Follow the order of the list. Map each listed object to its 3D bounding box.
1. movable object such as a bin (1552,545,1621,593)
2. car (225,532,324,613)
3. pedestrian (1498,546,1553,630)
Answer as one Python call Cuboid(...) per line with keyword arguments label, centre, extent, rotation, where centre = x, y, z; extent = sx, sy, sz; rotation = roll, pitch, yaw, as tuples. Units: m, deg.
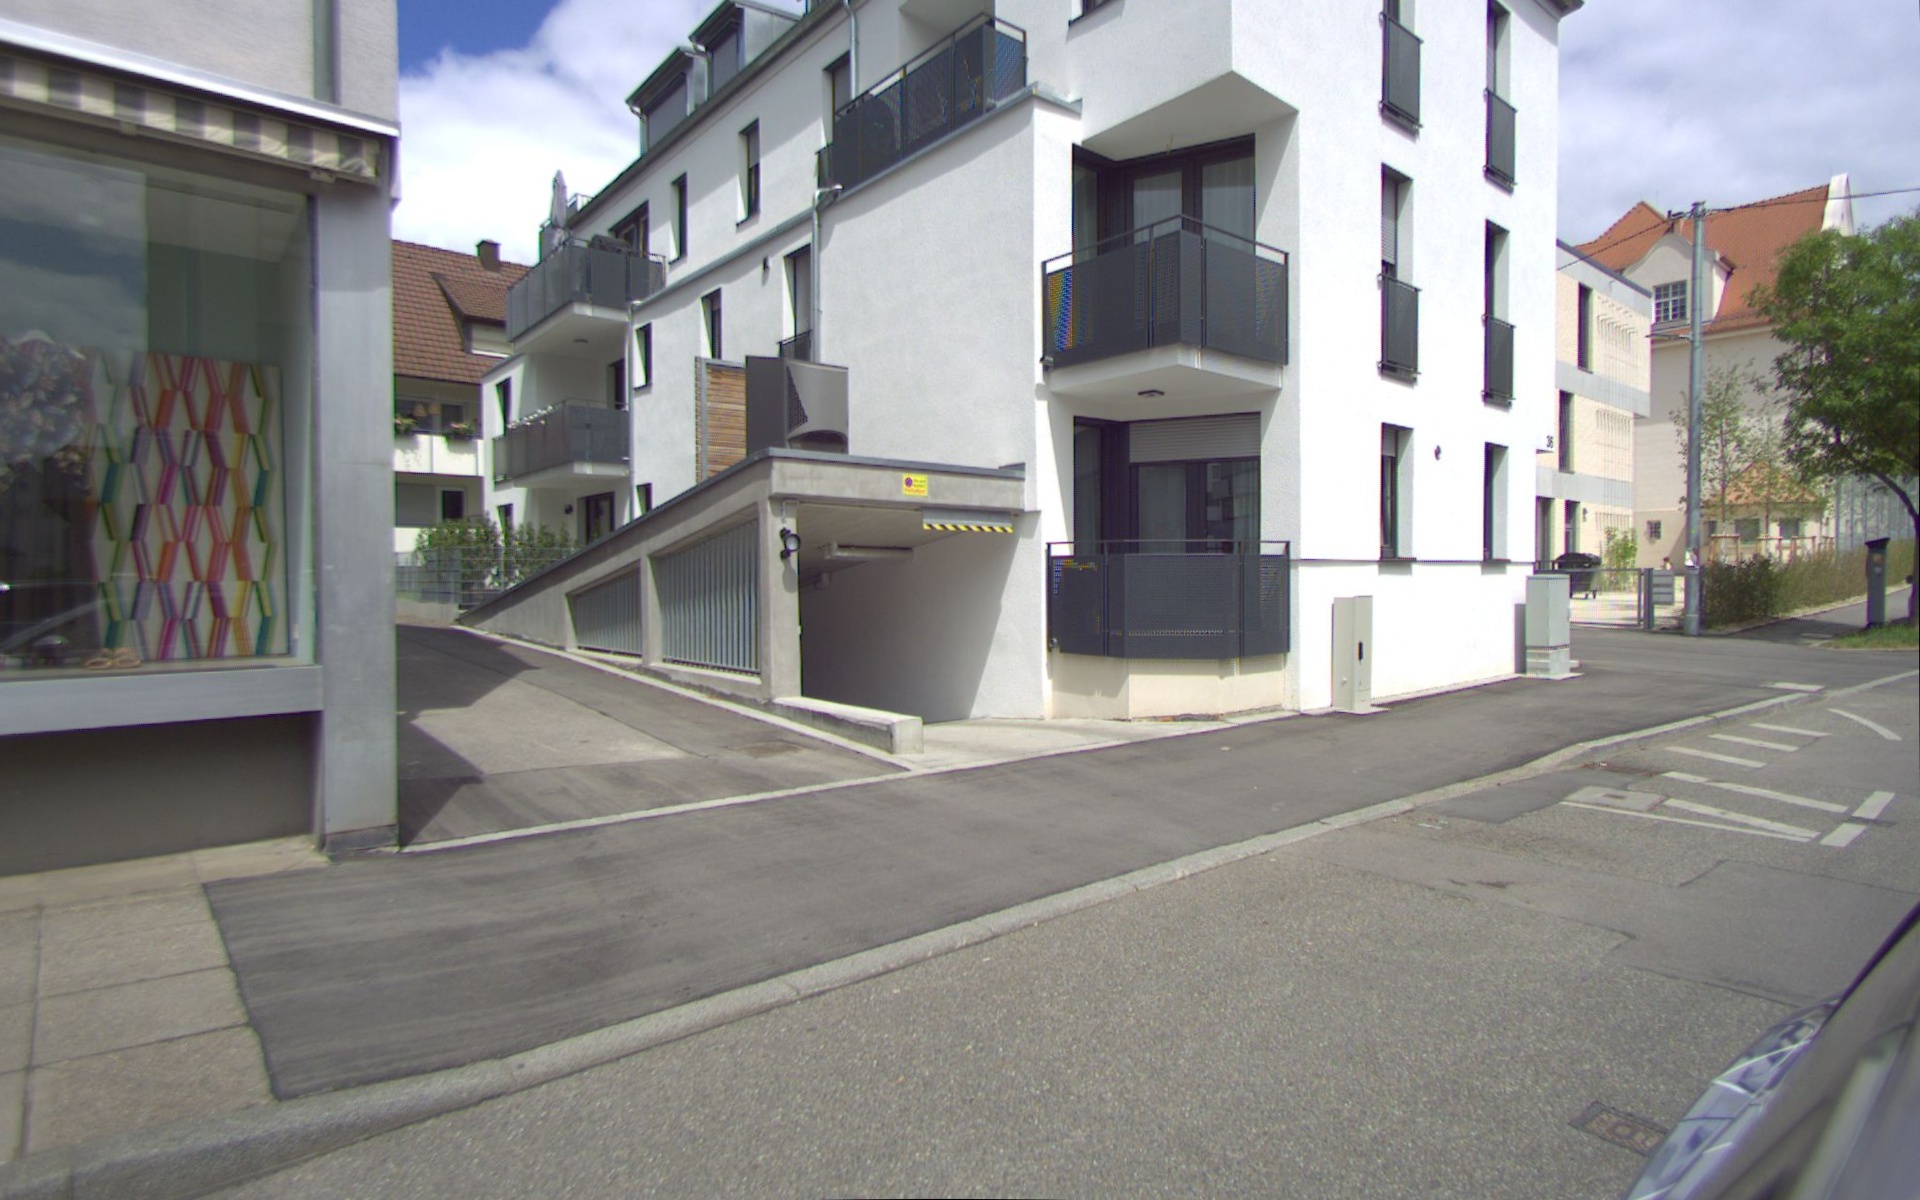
Cuboid(label="movable object such as a bin", centre=(19.822, -0.979, 32.037), extent=(1.775, 1.465, 1.351), rotation=(-3, 2, -39))
Cuboid(label="car", centre=(-15.245, -0.640, 22.657), extent=(1.654, 1.643, 4.004), rotation=(0, 2, -32))
Cuboid(label="pedestrian", centre=(11.971, -0.267, 21.424), extent=(0.815, 1.724, 0.774), rotation=(-3, 2, -41))
